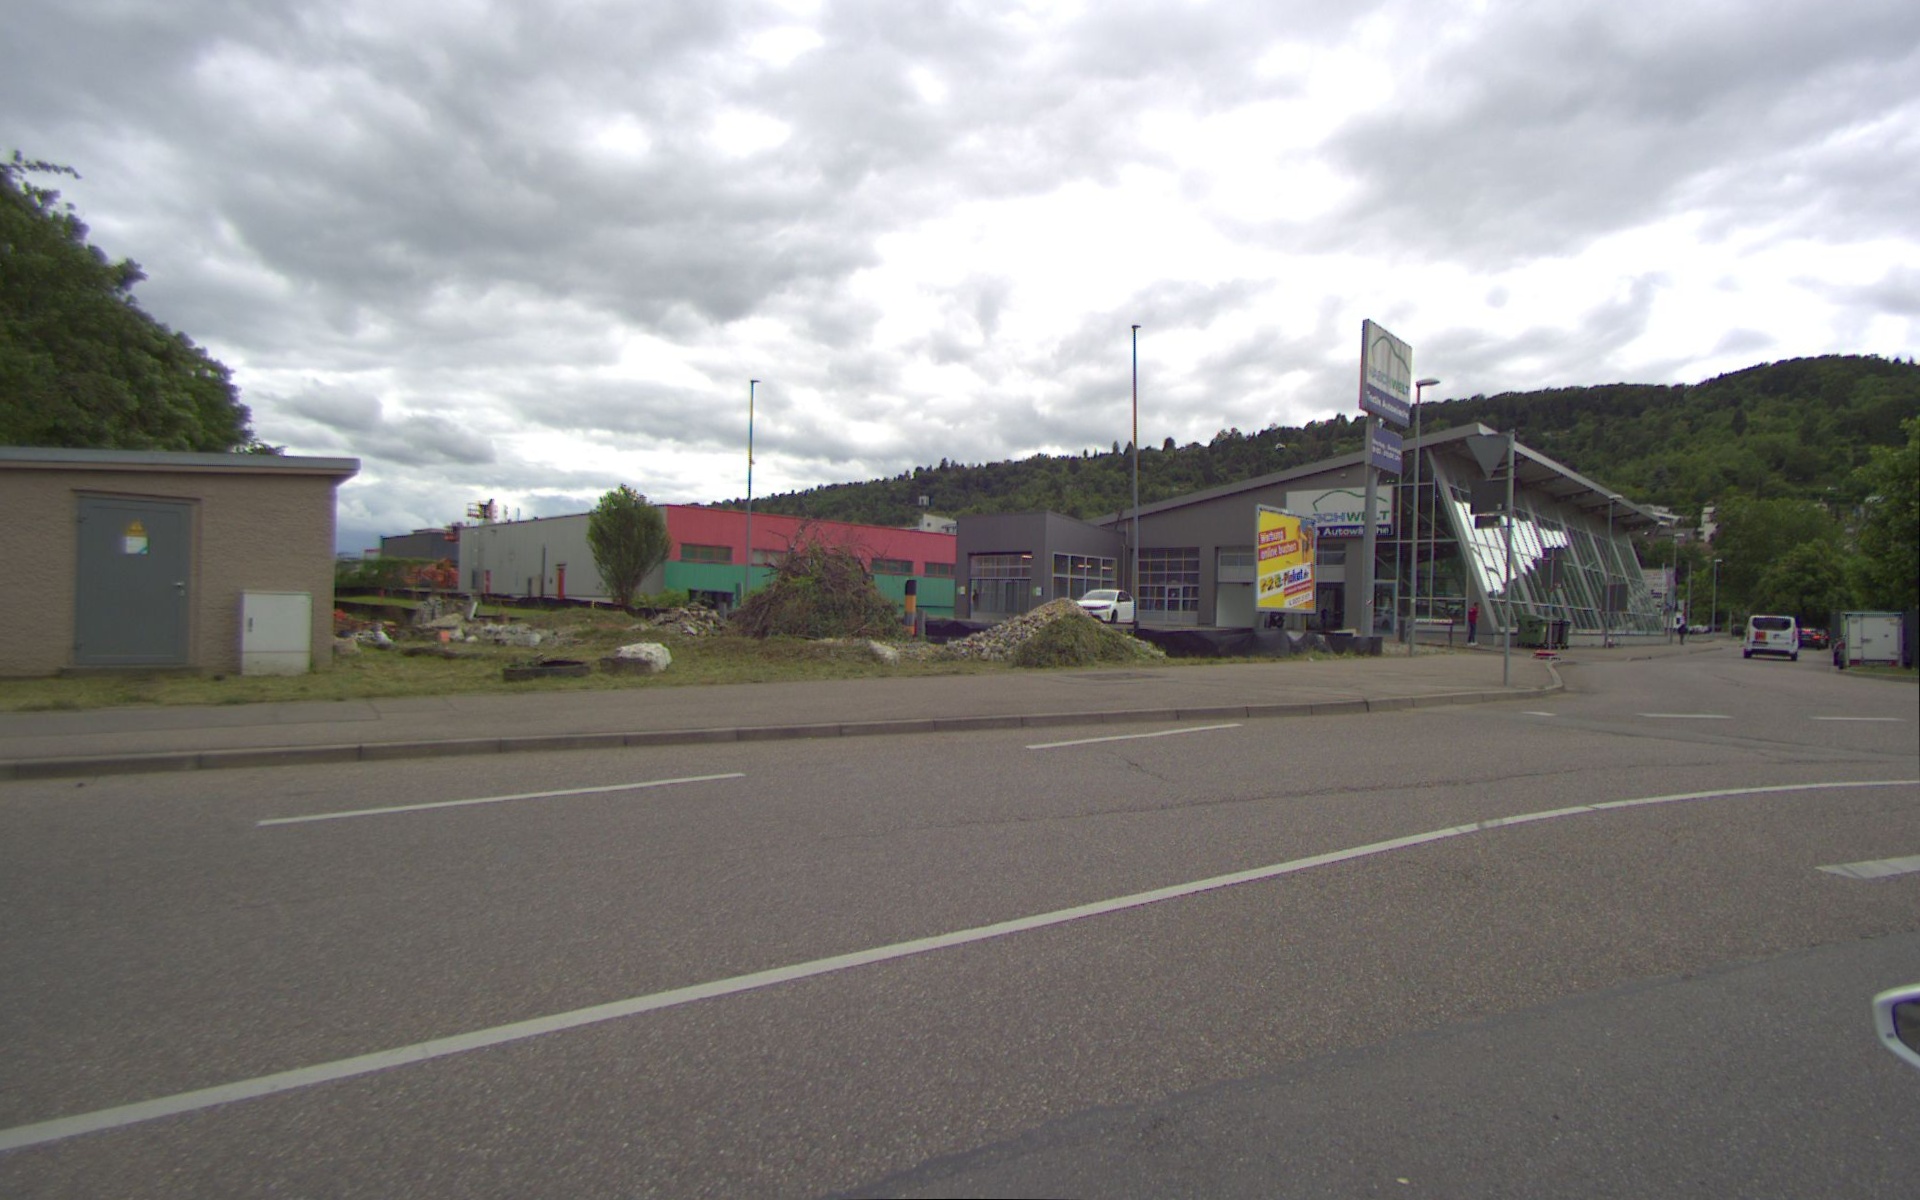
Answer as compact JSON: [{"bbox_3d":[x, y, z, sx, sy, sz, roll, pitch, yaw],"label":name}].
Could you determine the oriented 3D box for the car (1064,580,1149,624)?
[{"bbox_3d":[5.715,0.082,38.819,1.964,1.556,3.994,2,0,29],"label":"car"}]

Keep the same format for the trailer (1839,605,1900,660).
[{"bbox_3d":[42.417,1.483,46.856,1.972,2.375,3.977,2,1,43],"label":"trailer"}]

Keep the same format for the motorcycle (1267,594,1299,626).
[{"bbox_3d":[18.123,0.592,56.382,0.830,1.733,2.352,2,0,41],"label":"motorcycle"}]

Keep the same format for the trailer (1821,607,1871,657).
[{"bbox_3d":[56.303,1.981,63.824,2.254,2.993,3.977,2,1,43],"label":"trailer"}]

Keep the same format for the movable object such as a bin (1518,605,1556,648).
[{"bbox_3d":[24.624,1.125,42.852,1.052,1.780,1.131,2,-1,-45],"label":"movable object such as a bin"}]

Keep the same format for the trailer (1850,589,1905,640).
[{"bbox_3d":[72.501,1.138,79.369,3.034,3.810,4.906,2,1,43],"label":"trailer"}]

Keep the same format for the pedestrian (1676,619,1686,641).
[{"bbox_3d":[56.337,2.335,78.483,0.620,1.695,0.755,1,0,39],"label":"pedestrian"}]

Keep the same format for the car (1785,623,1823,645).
[{"bbox_3d":[67.557,2.720,80.403,1.973,1.706,3.975,1,-1,45],"label":"car"}]

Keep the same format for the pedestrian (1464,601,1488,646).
[{"bbox_3d":[21.834,0.981,42.508,0.814,1.893,0.717,0,0,31],"label":"pedestrian"}]

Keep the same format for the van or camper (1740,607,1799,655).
[{"bbox_3d":[38.546,1.482,47.888,2.073,2.111,4.187,1,-1,39],"label":"van or camper"}]

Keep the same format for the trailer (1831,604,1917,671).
[{"bbox_3d":[30.526,1.208,33.568,1.972,2.040,3.977,2,1,43],"label":"trailer"}]

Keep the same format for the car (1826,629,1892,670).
[{"bbox_3d":[38.401,2.084,42.990,1.970,1.528,4.161,2,1,41],"label":"car"}]
